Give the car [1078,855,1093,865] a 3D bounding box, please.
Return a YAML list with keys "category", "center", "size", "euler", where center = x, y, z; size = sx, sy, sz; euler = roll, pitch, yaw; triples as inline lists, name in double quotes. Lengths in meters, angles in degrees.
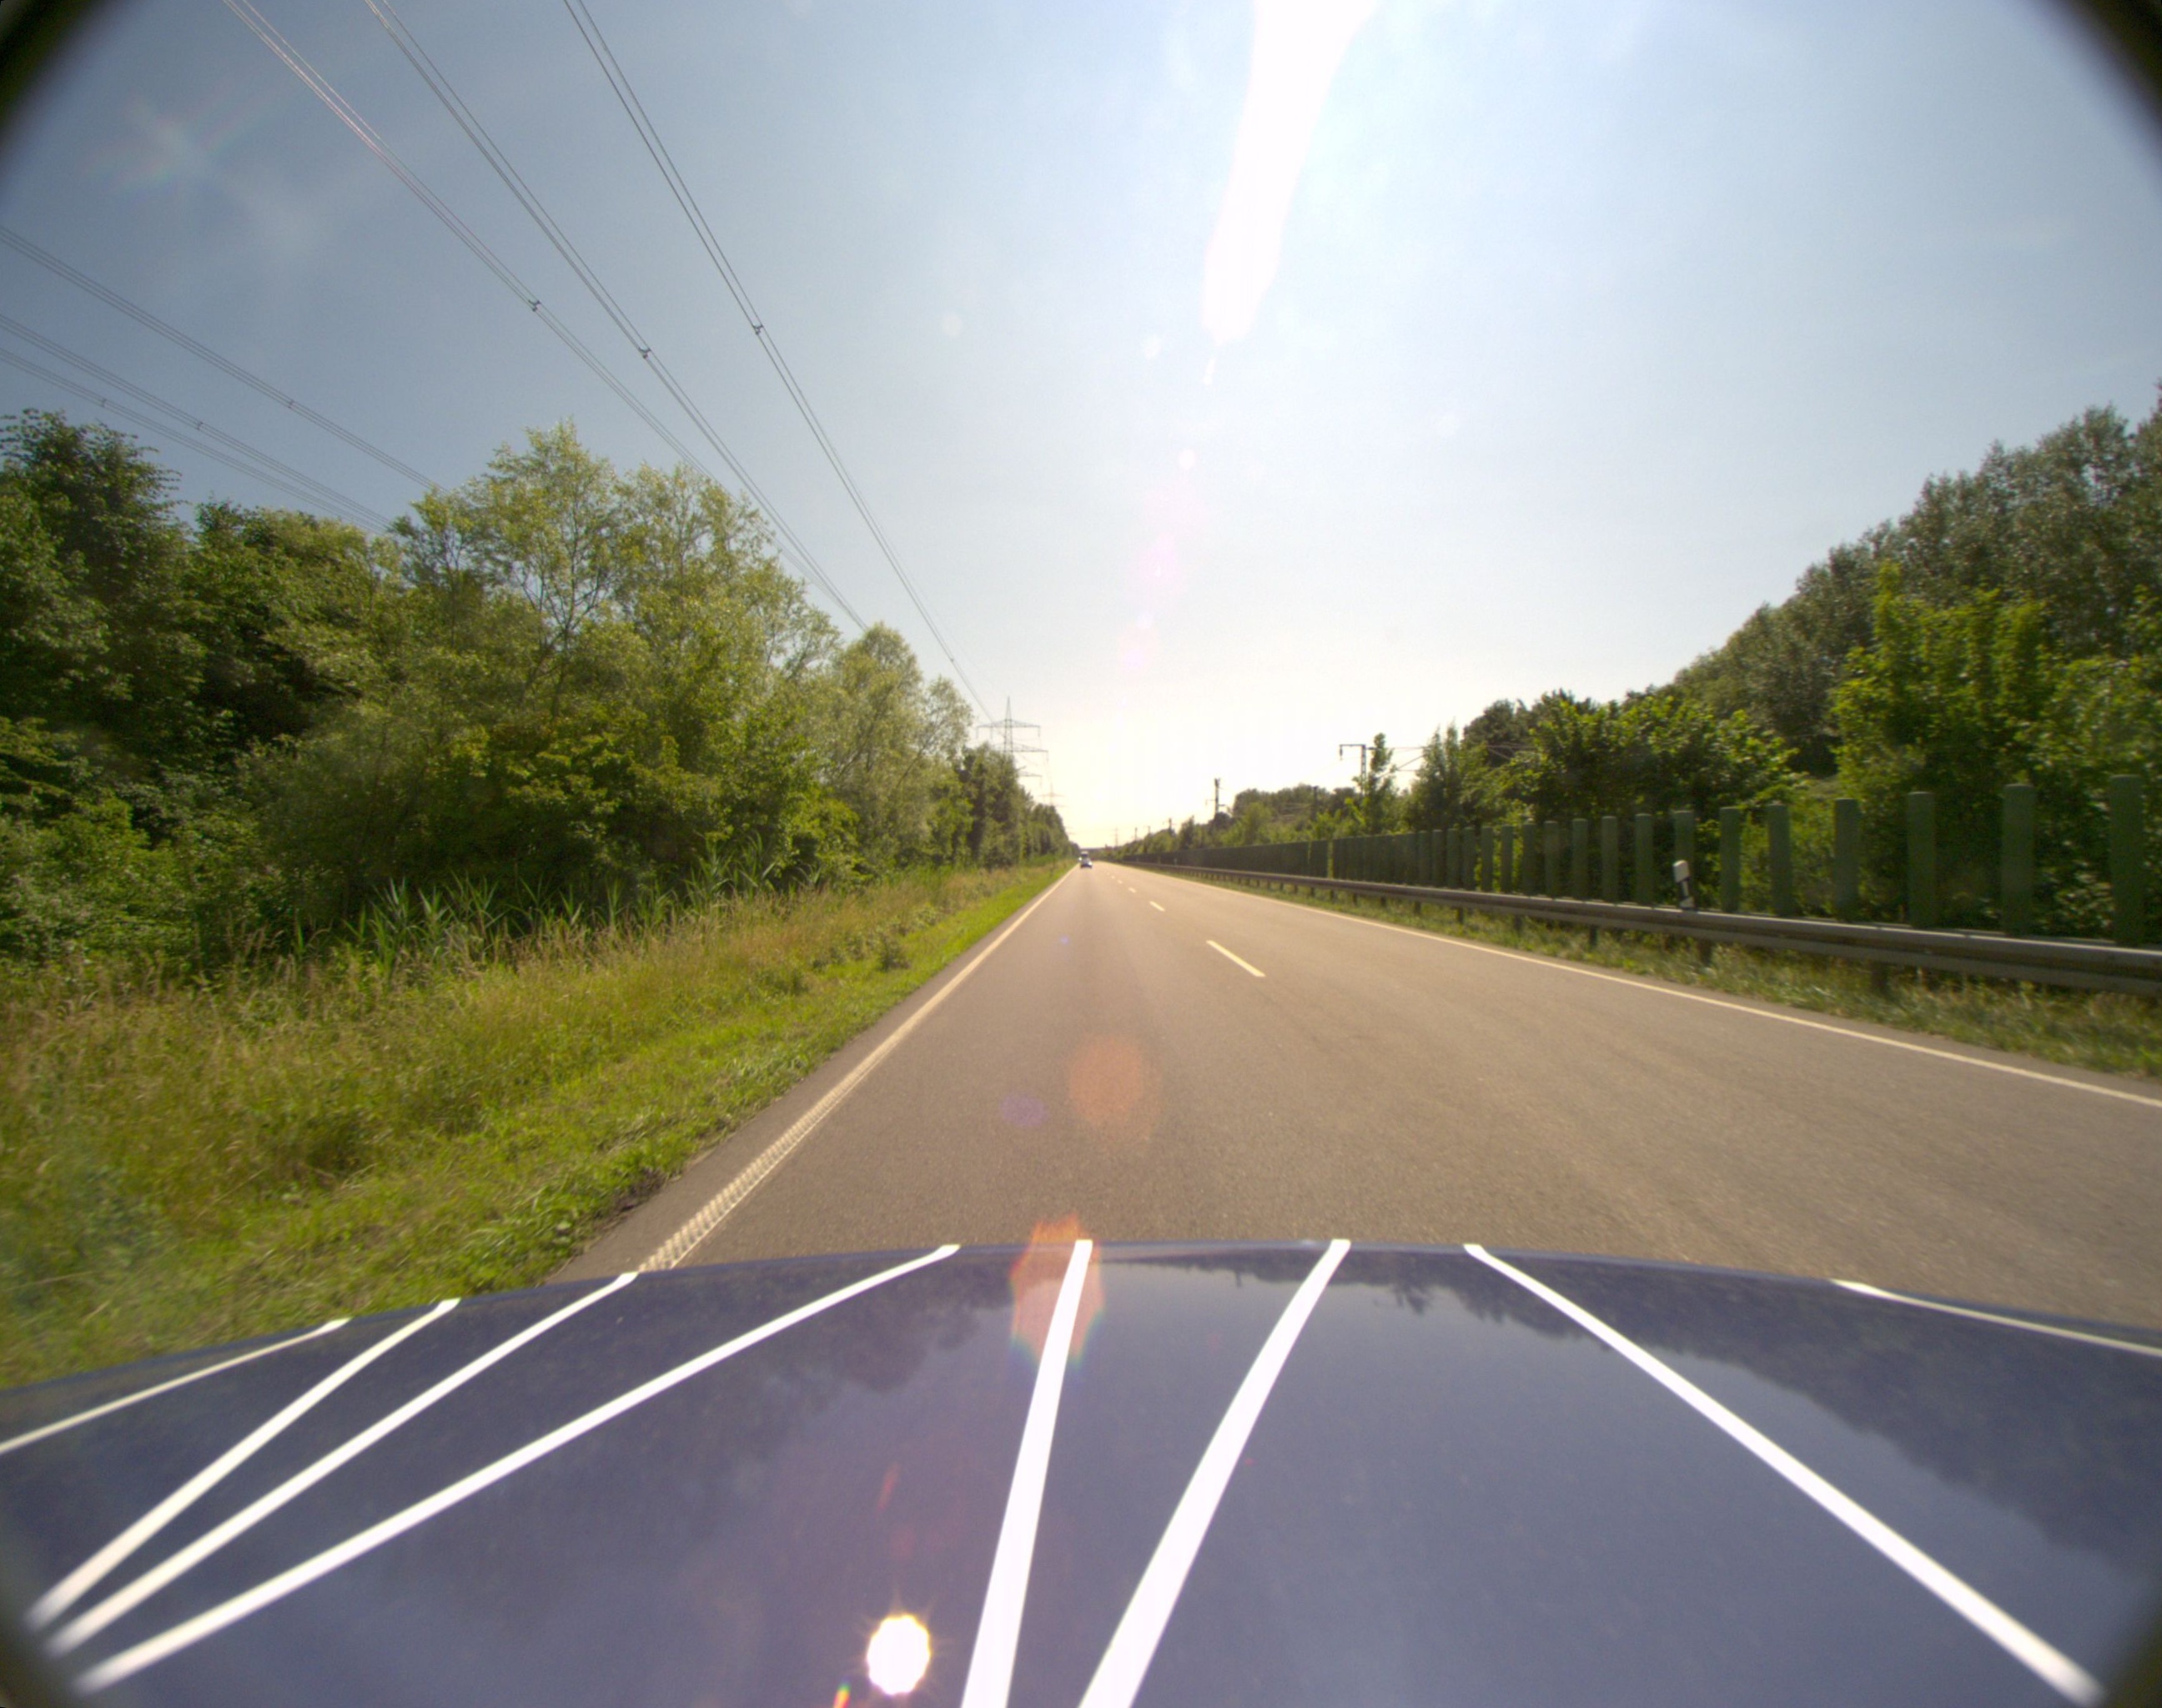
- category: "car"
  center: [0.628, 0.868, 108.727]
  size: [1.999, 1.346, 4.157]
  euler: [-3, 0, 0]
